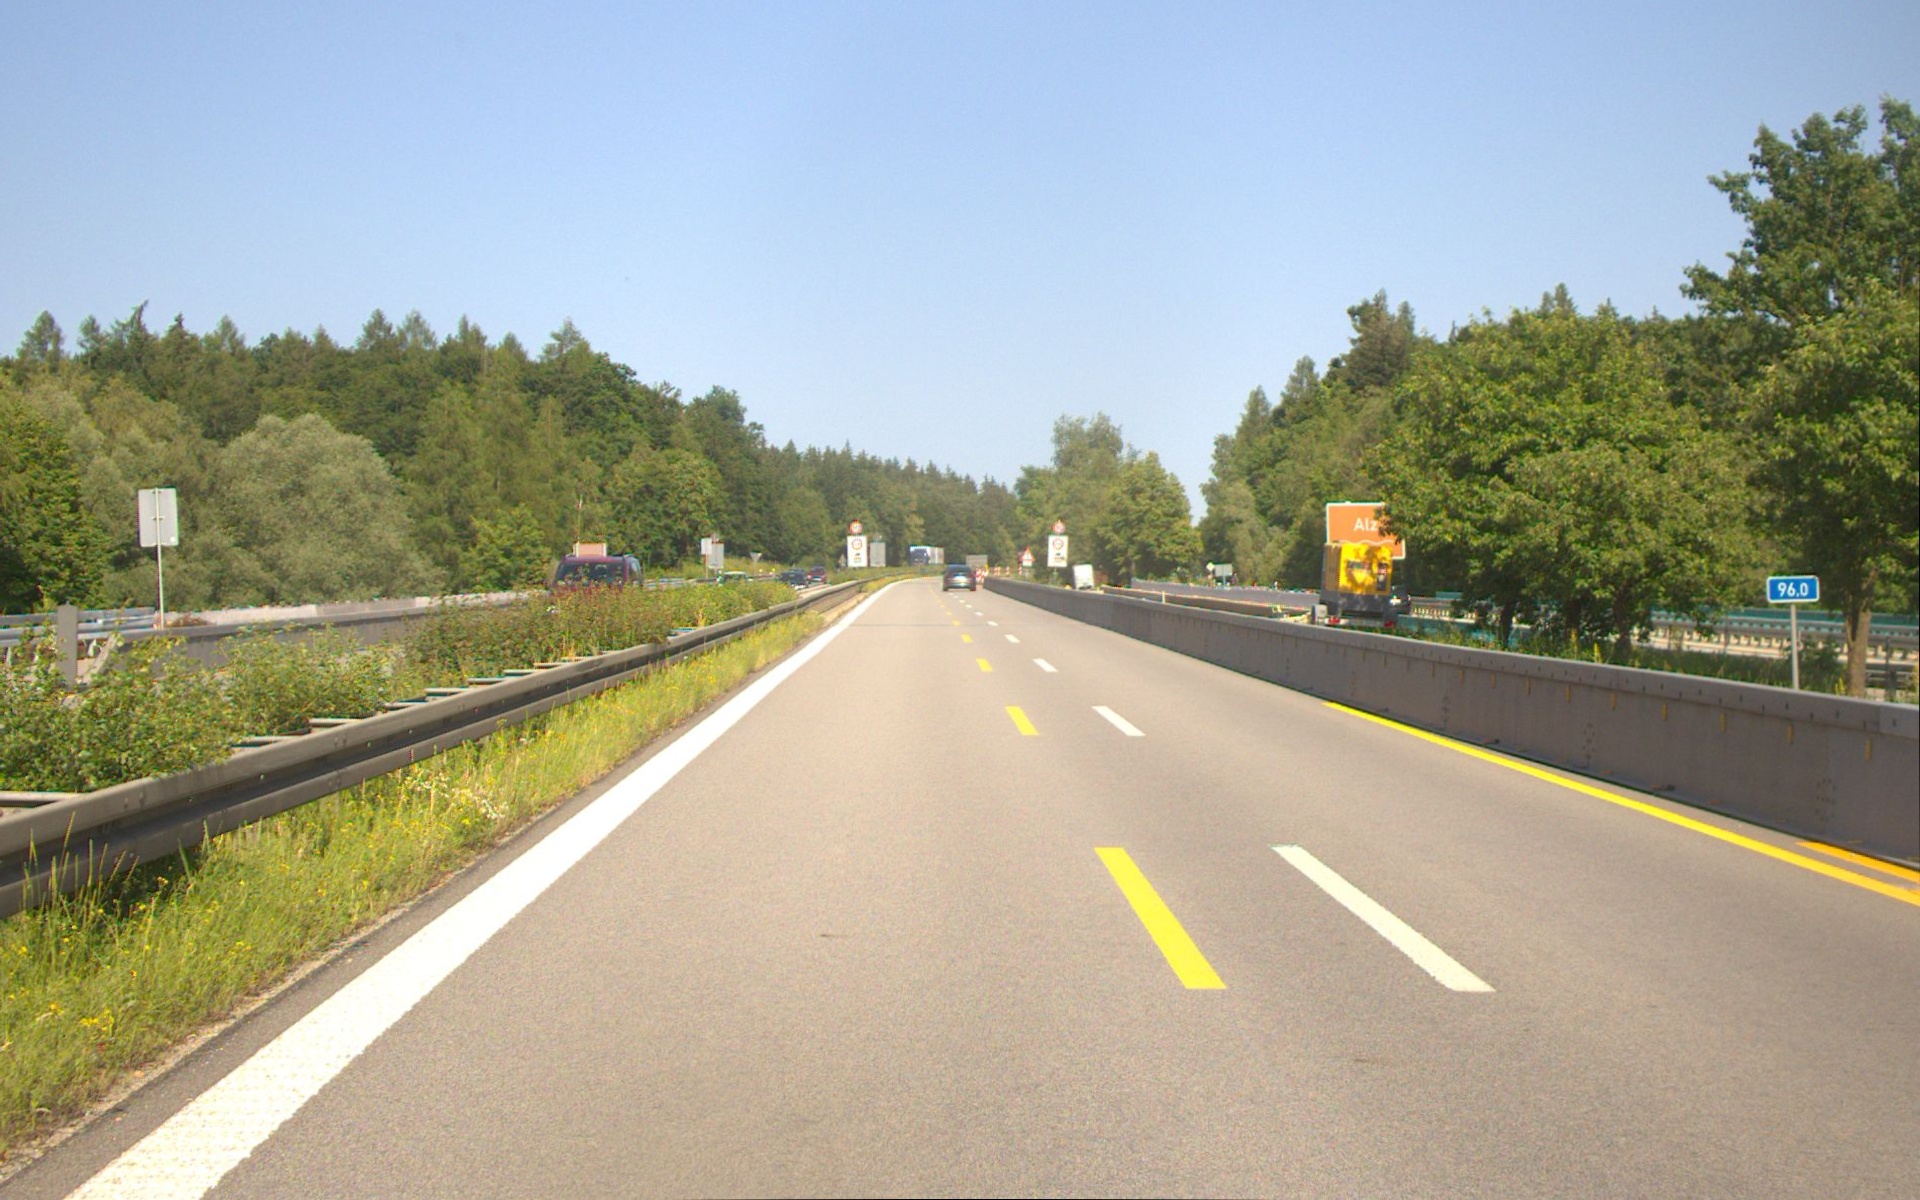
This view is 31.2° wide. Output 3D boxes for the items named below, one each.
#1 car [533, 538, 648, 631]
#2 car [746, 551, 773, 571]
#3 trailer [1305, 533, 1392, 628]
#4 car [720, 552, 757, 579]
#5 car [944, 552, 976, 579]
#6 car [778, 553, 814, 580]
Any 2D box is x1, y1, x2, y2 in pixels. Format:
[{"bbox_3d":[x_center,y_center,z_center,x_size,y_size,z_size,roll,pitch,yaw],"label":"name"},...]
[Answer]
[{"bbox_3d":[-8.185,-0.378,76.509,1.874,1.967,5.577,1,1,1],"label":"car"},{"bbox_3d":[-14.887,-2.882,255.382,1.744,1.461,4.910,-1,1,-1],"label":"car"},{"bbox_3d":[7.924,-0.414,70.348,1.125,1.867,4.001,-1,1,-3],"label":"trailer"},{"bbox_3d":[-11.631,-1.816,180.617,1.682,1.388,4.193,-1,1,-1],"label":"car"},{"bbox_3d":[0.007,-1.962,193.680,1.744,1.461,4.294,-1,1,-1],"label":"car"},{"bbox_3d":[-8.768,-1.790,184.456,1.646,1.372,4.808,-1,1,0],"label":"car"}]
